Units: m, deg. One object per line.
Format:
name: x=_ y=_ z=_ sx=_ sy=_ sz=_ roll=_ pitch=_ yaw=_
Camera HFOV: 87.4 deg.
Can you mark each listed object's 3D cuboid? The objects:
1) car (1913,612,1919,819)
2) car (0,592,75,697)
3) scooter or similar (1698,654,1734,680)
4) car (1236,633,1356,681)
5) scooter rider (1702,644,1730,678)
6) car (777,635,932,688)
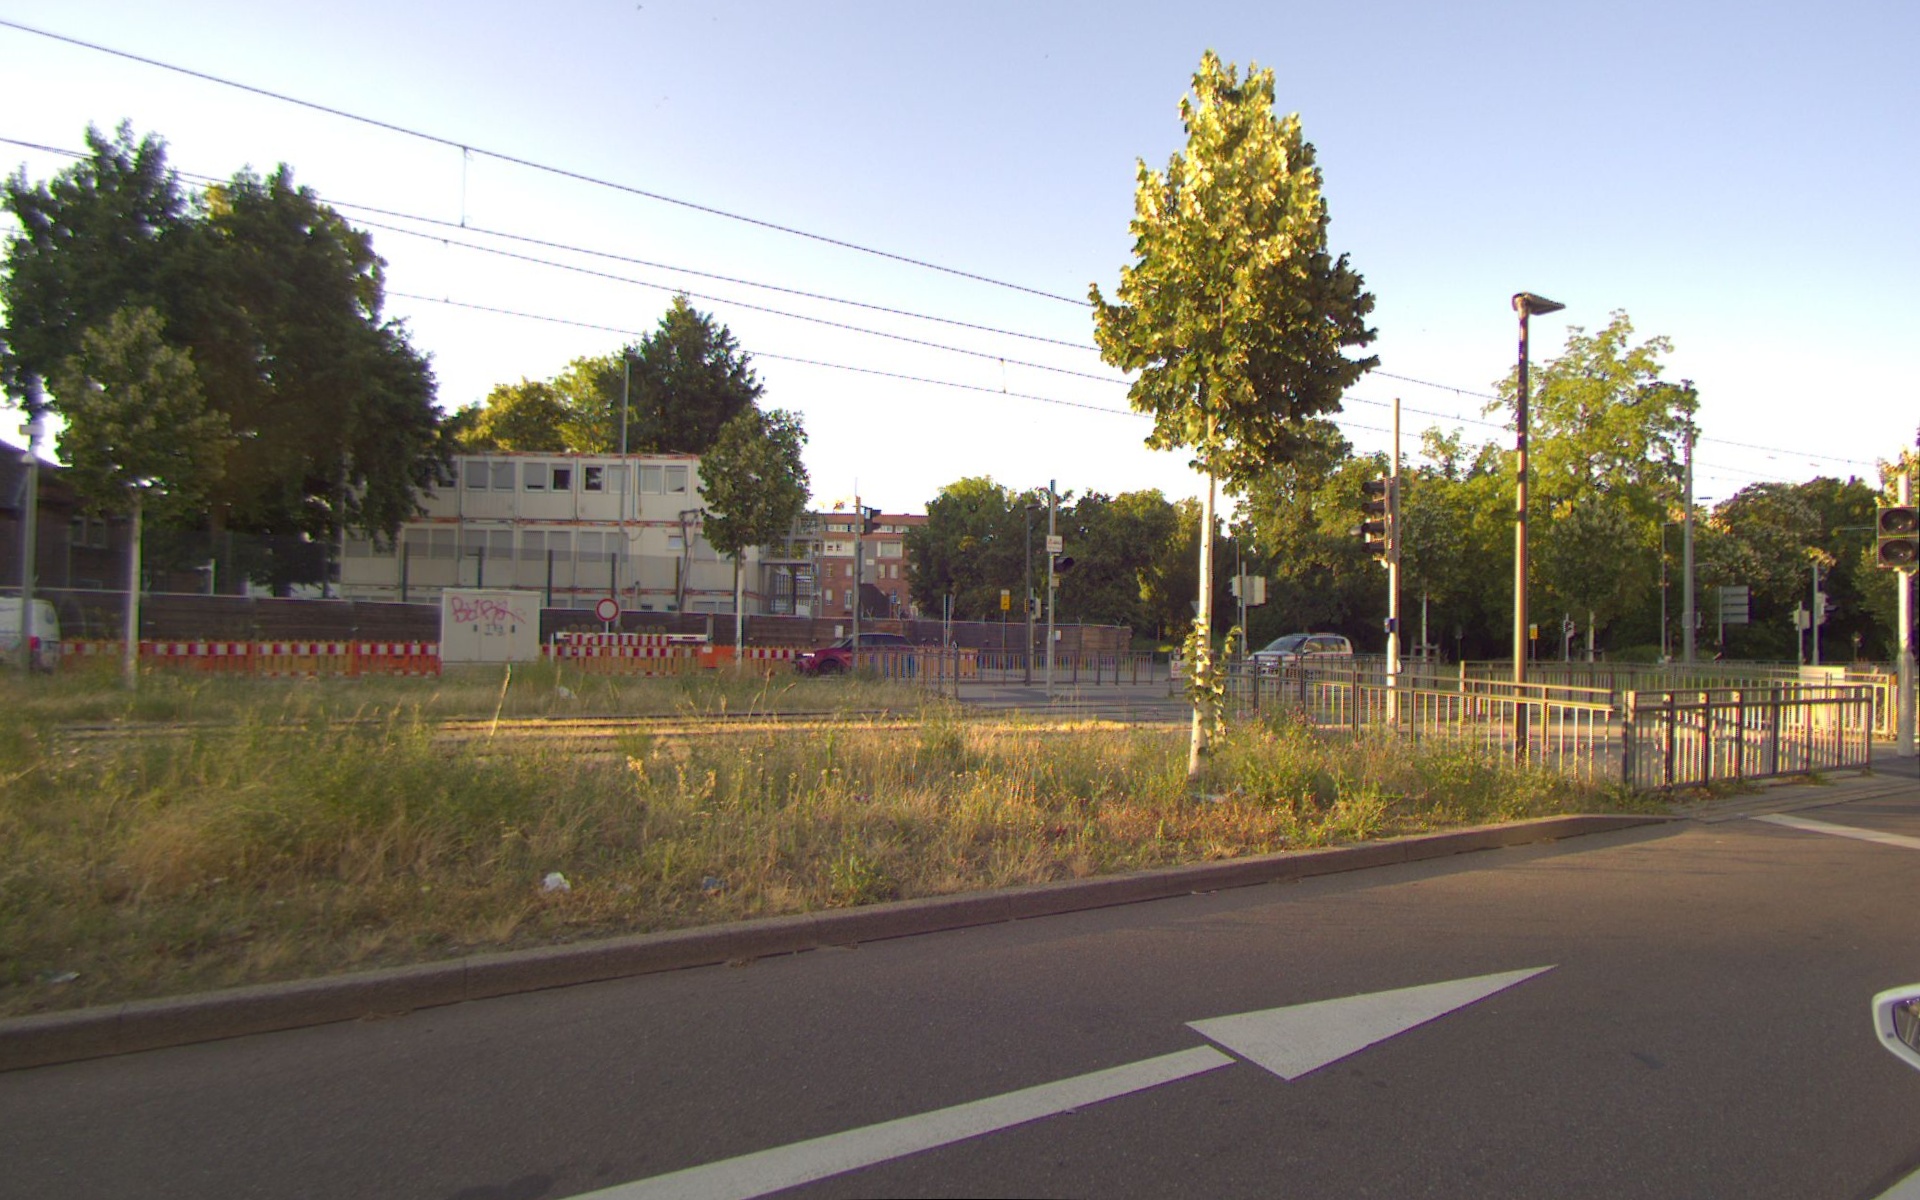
car: x=10.060 y=0.969 z=8.459 sx=4.218 sy=1.681 sz=1.846 roll=1 pitch=0 yaw=-30
car: x=-22.087 y=0.913 z=21.247 sx=4.692 sy=2.197 sz=1.985 roll=1 pitch=0 yaw=-29
scooter or similar: x=34.882 y=3.082 z=46.349 sx=1.307 sy=1.168 sz=0.513 roll=1 pitch=-2 yaw=-3
car: x=11.196 y=1.890 z=33.440 sx=3.738 sy=1.500 sz=1.792 roll=2 pitch=-2 yaw=-30
scooter rider: x=34.910 y=2.803 z=46.378 sx=0.807 sy=1.534 sz=0.653 roll=1 pitch=-2 yaw=-2
car: x=-3.308 y=1.891 z=31.548 sx=4.464 sy=1.501 sz=1.986 roll=1 pitch=0 yaw=-27
